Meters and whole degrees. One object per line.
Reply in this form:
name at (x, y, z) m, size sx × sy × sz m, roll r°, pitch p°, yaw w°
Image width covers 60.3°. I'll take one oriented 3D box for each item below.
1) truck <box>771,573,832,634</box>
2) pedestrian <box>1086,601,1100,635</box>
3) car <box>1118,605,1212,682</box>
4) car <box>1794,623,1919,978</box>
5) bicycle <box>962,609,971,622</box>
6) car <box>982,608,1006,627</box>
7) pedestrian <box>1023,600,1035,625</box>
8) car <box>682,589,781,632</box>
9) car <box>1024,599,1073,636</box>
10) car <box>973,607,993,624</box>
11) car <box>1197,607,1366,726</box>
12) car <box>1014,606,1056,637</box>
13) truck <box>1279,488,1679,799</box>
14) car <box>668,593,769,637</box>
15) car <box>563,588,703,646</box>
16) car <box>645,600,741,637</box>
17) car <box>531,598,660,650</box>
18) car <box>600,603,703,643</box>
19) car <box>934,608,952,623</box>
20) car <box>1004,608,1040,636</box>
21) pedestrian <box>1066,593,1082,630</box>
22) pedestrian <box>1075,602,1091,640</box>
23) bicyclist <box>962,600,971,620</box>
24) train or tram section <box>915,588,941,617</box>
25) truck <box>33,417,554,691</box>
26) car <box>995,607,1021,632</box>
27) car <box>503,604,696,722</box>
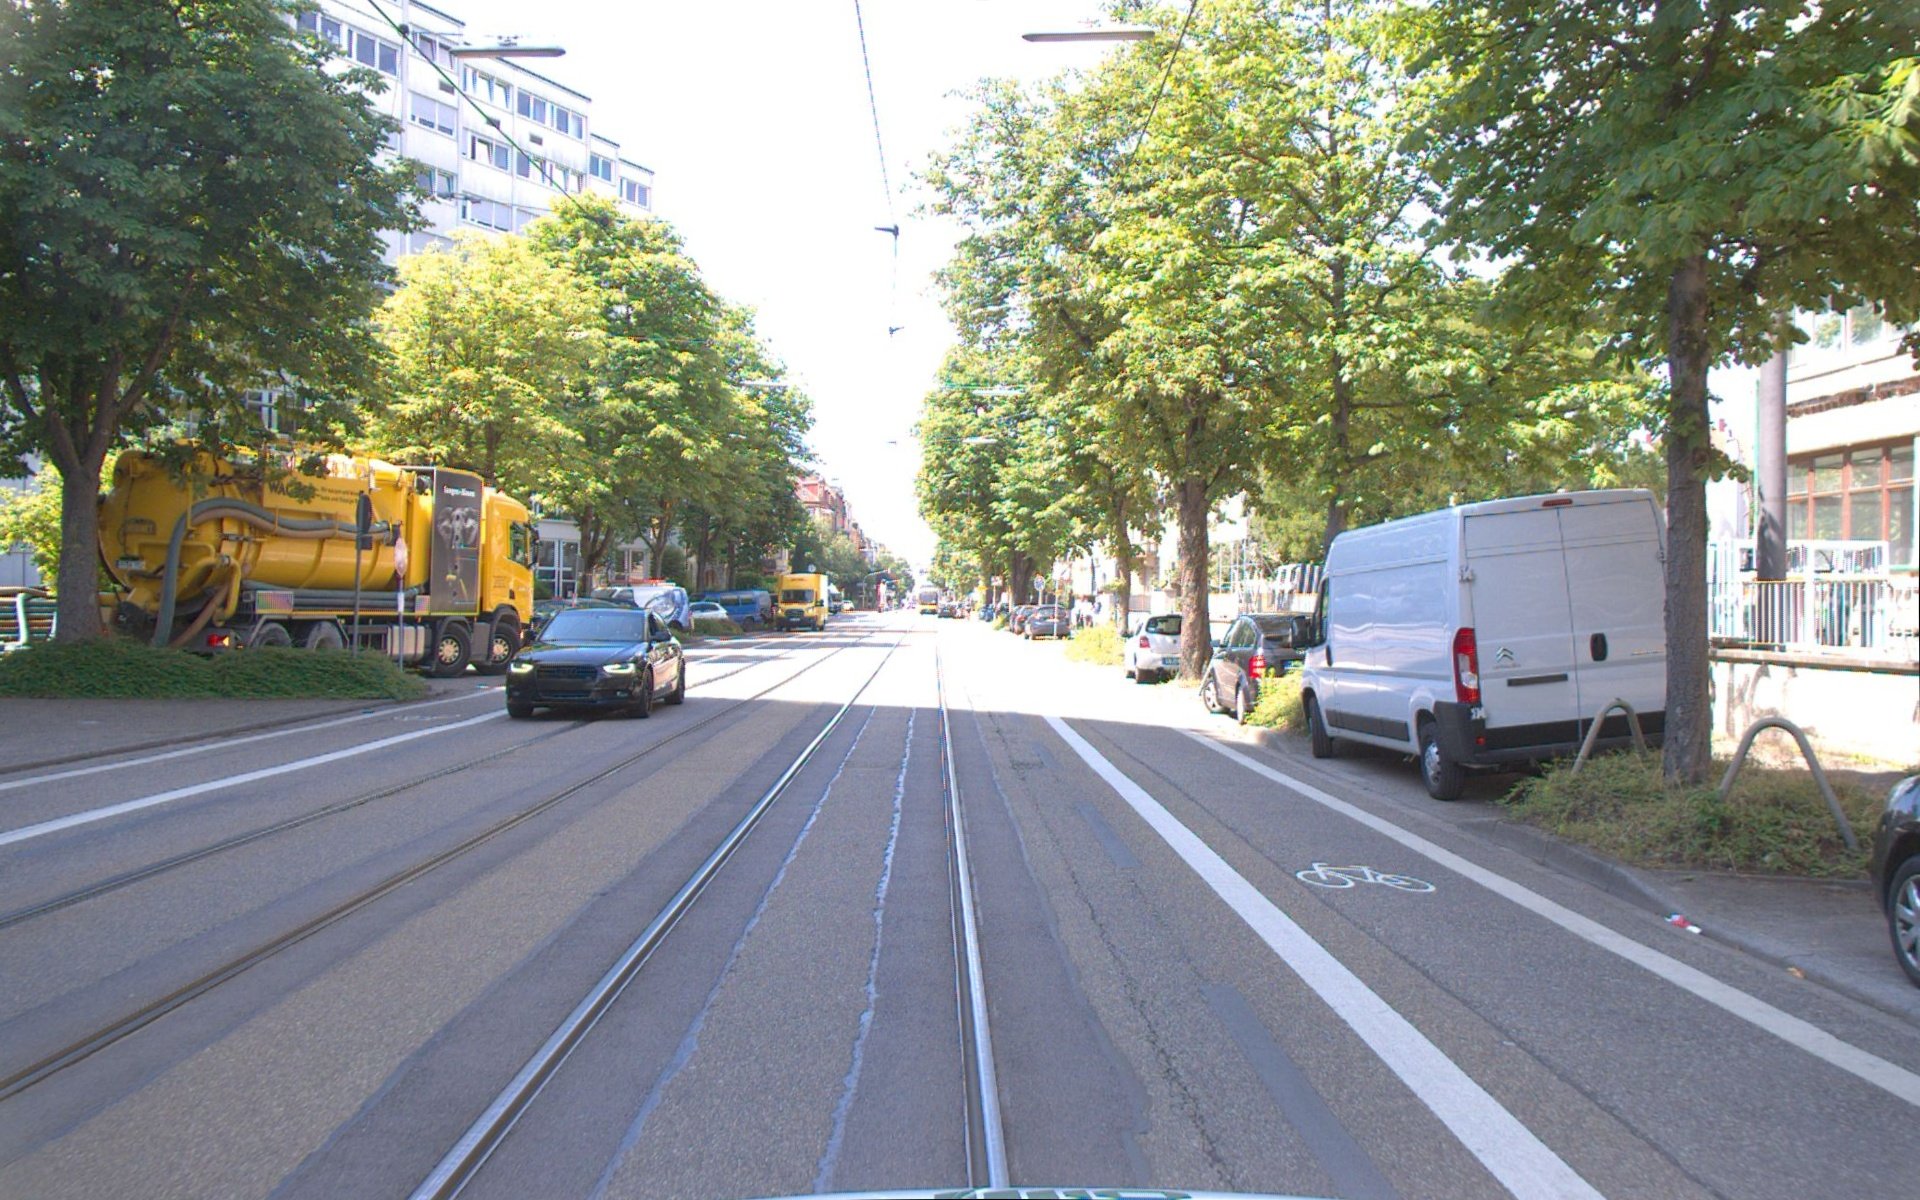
truck at (-7.957, 0.171, 83.889) m, size 2.312 × 2.902 × 7.378 m, roll 0°, pitch 0°, yaw 1°
pedestrian at (6.844, 0.923, 84.887) m, size 0.605 × 1.768 × 0.478 m, roll -1°, pitch -1°, yaw 17°
car at (4.433, 0.913, 36.266) m, size 1.610 × 1.561 × 3.785 m, roll 0°, pitch 0°, yaw 0°
car at (4.979, 0.878, 5.990) m, size 1.786 × 1.497 × 4.401 m, roll 1°, pitch 0°, yaw 1°
bicycle at (0.517, 1.271, 135.728) m, size 0.626 × 0.986 × 1.780 m, roll 2°, pitch -2°, yaw -2°
car at (2.661, 1.388, 130.186) m, size 1.676 × 1.448 × 4.308 m, roll 0°, pitch -1°, yaw -2°
pedestrian at (5.201, 0.952, 124.774) m, size 0.792 × 1.892 × 0.623 m, roll 1°, pitch -2°, yaw -3°
car at (-11.724, 0.516, 84.983) m, size 4.718 × 2.098 × 1.997 m, roll -1°, pitch 0°, yaw -40°
car at (3.720, 0.747, 69.832) m, size 1.607 × 1.511 × 3.869 m, roll 0°, pitch -1°, yaw -4°
car at (2.060, 1.396, 148.510) m, size 1.676 × 1.448 × 4.308 m, roll 0°, pitch -1°, yaw -2°
car at (4.617, 0.910, 24.241) m, size 1.611 × 1.561 × 3.946 m, roll 0°, pitch 0°, yaw -1°
car at (3.729, 1.072, 82.356) m, size 1.838 × 1.480 × 4.527 m, roll 0°, pitch -1°, yaw -1°
truck at (4.837, 0.354, 16.537) m, size 1.974 × 2.532 × 5.954 m, roll 0°, pitch 0°, yaw -2°
car at (-11.480, 0.714, 78.799) m, size 1.815 × 1.990 × 4.701 m, roll -1°, pitch 0°, yaw 43°
car at (-11.590, 0.593, 58.850) m, size 1.887 × 1.968 × 4.729 m, roll -2°, pitch -1°, yaw 41°
car at (-11.633, 0.794, 72.234) m, size 1.730 × 1.458 × 3.978 m, roll -3°, pitch -1°, yaw 41°
car at (-11.453, 0.729, 52.119) m, size 1.663 × 1.571 × 3.685 m, roll -1°, pitch 0°, yaw 43°
car at (-12.072, 0.888, 64.784) m, size 1.732 × 1.493 × 3.685 m, roll -2°, pitch -1°, yaw 43°
car at (-1.615, 1.453, 156.141) m, size 1.745 × 1.369 × 3.415 m, roll 0°, pitch 0°, yaw -1°
car at (3.320, 1.162, 88.962) m, size 1.676 × 1.448 × 4.242 m, roll 0°, pitch -1°, yaw -2°
pedestrian at (5.881, 0.608, 85.114) m, size 0.791 × 1.892 × 0.577 m, roll 0°, pitch 0°, yaw 7°
pedestrian at (6.212, 1.068, 83.623) m, size 0.708 × 1.892 × 0.577 m, roll 0°, pitch -1°, yaw 16°
bicyclist at (0.534, 0.812, 135.683) m, size 0.610 × 1.644 × 0.864 m, roll 2°, pitch -2°, yaw -3°
train or tram section at (-3.902, 0.366, 205.050) m, size 2.973 × 3.499 × 11.968 m, roll 0°, pitch 0°, yaw 0°
truck at (-11.028, -0.592, 29.361) m, size 2.657 × 3.909 × 10.972 m, roll 2°, pitch -1°, yaw 13°
car at (3.193, 1.306, 110.968) m, size 1.560 × 1.645 × 3.906 m, roll 0°, pitch -1°, yaw -2°
car at (-4.789, 0.780, 22.544) m, size 1.738 × 1.422 × 4.286 m, roll 0°, pitch 0°, yaw -1°
